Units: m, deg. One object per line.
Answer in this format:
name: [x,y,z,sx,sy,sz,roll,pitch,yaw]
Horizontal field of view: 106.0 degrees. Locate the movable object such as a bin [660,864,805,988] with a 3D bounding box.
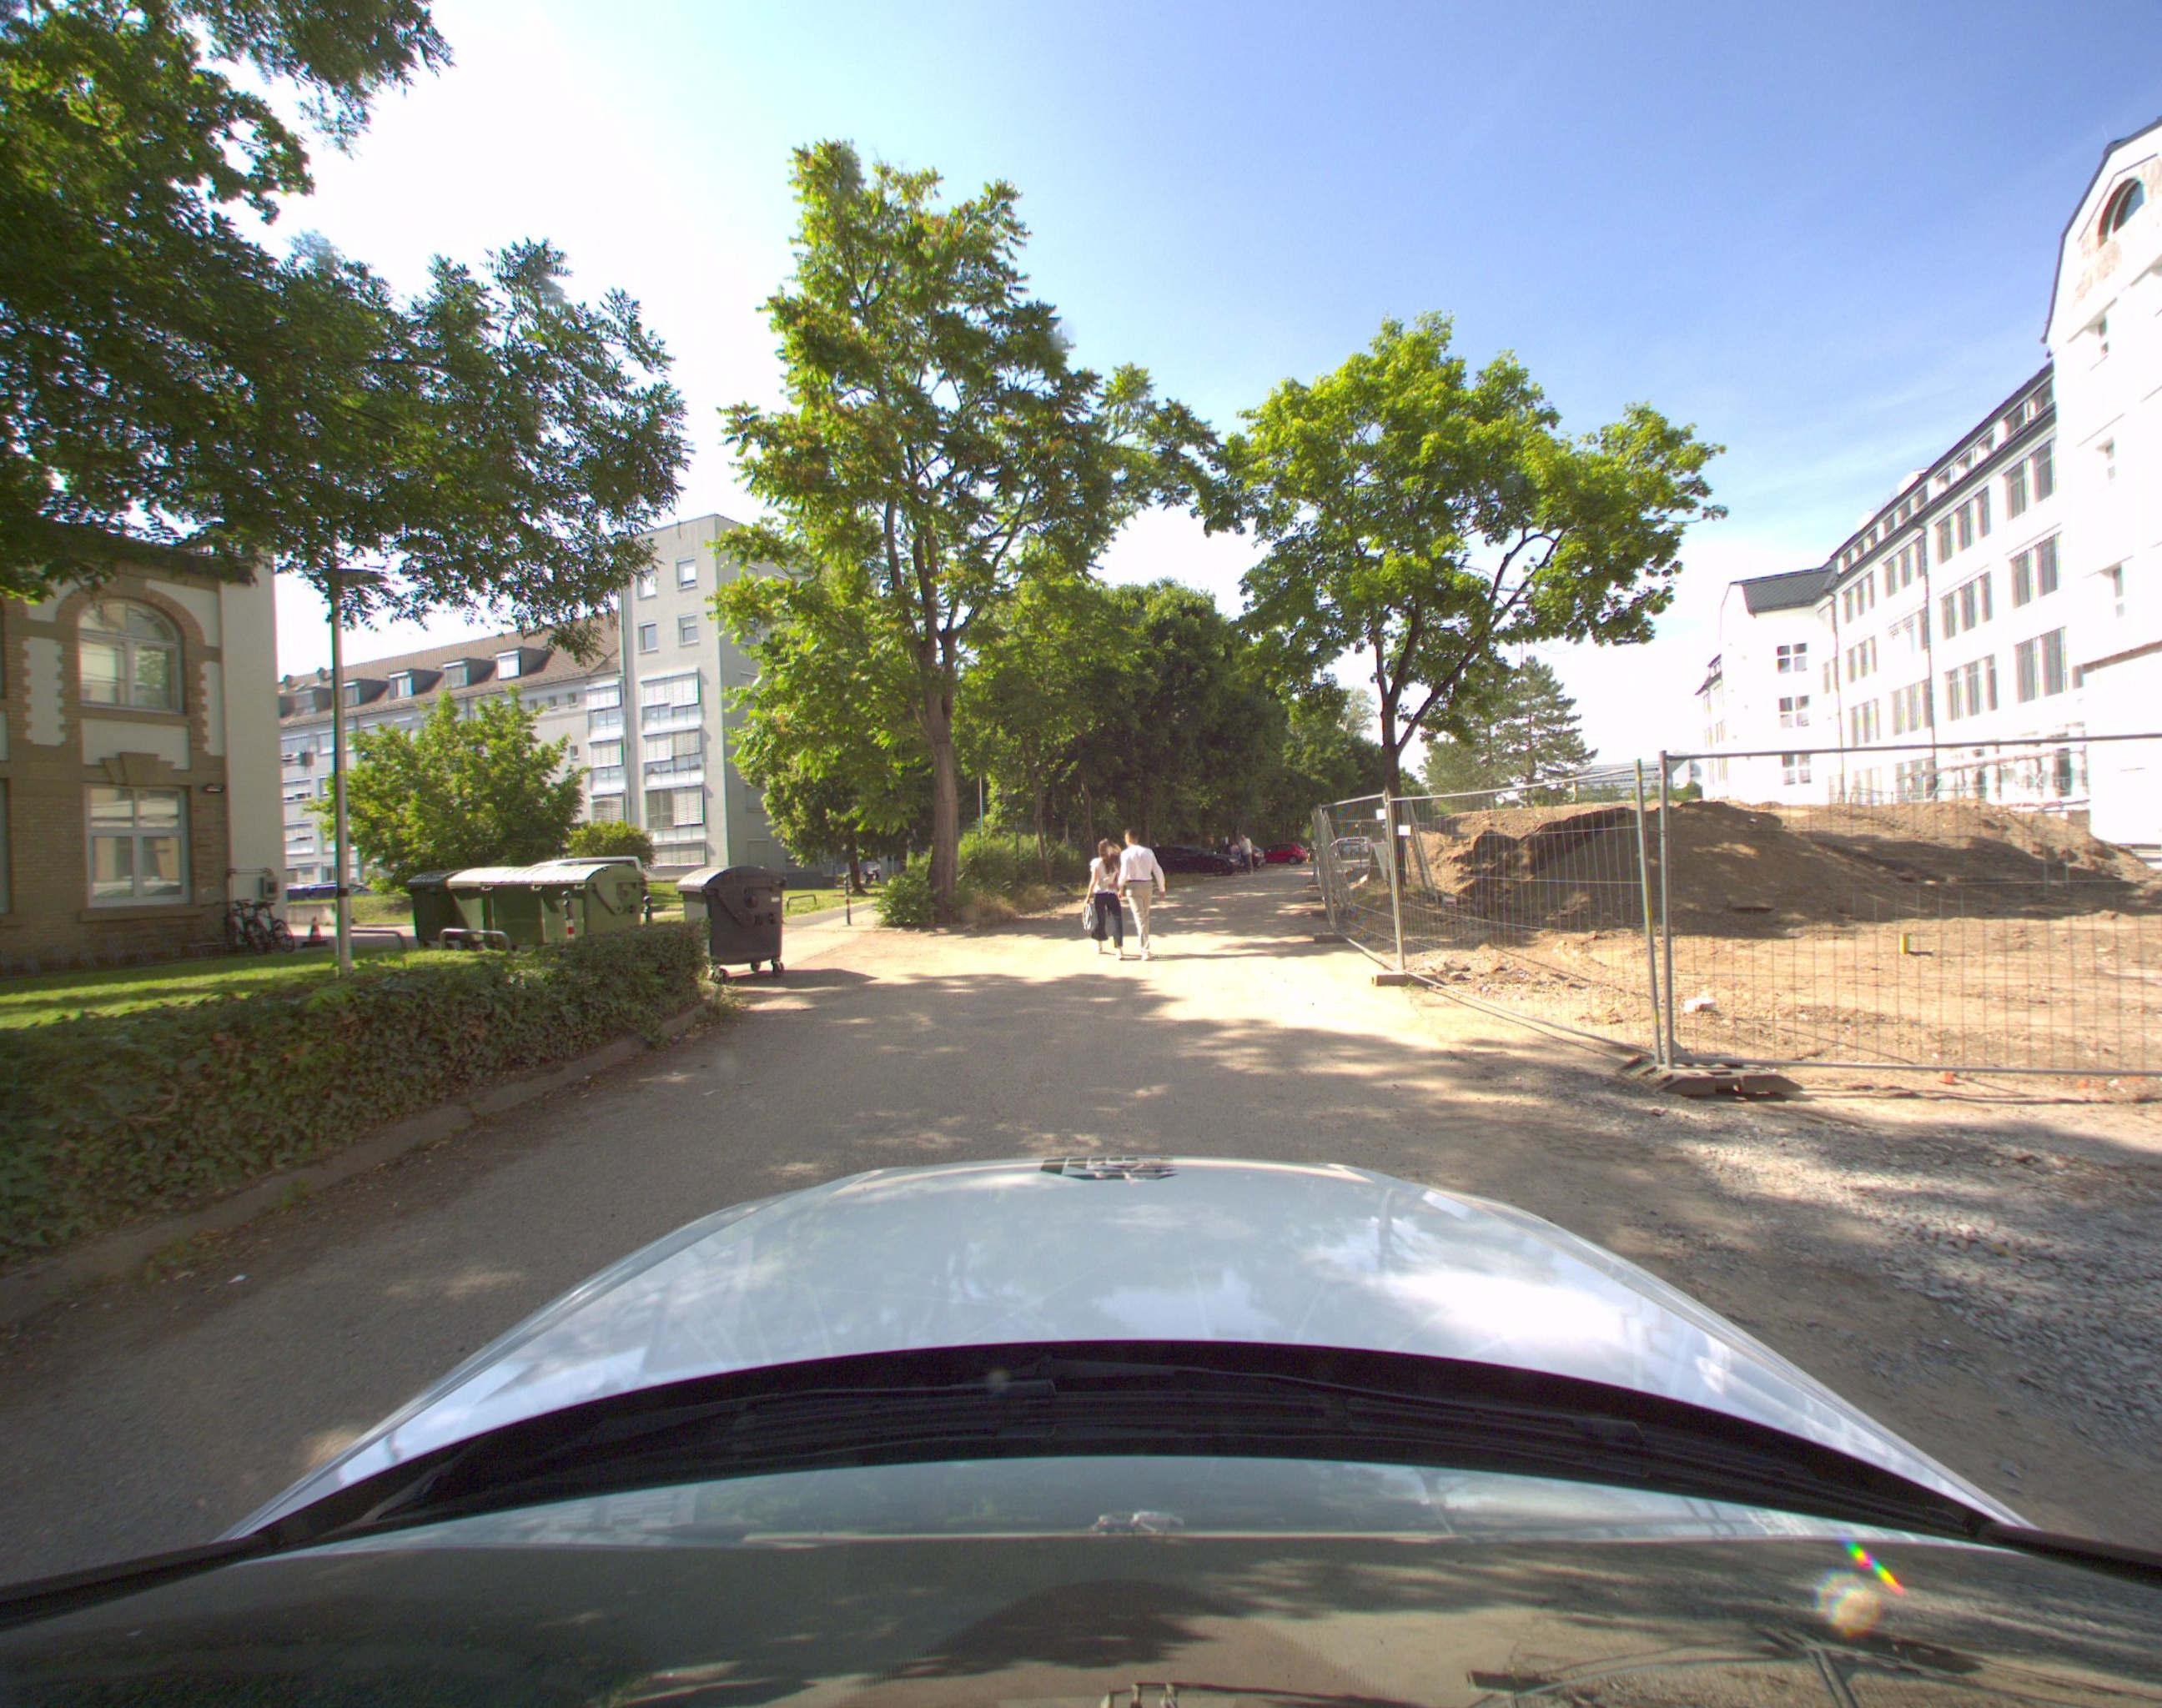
movable object such as a bin: [-4.505,0.874,10.514,1.255,1.396,1.387,-3,0,-44]

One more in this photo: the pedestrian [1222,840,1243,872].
pedestrian: [7.792,0.105,41.889,0.917,1.595,0.790,-2,1,19]

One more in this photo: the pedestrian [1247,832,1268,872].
pedestrian: [8.096,-0.085,37.311,0.811,1.781,1.021,-2,0,14]

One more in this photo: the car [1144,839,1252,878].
car: [5.450,0.201,37.959,4.618,1.584,2.010,-2,1,19]

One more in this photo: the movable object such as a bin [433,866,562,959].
movable object such as a bin: [-9.925,0.970,13.873,1.349,1.431,1.256,-3,0,27]

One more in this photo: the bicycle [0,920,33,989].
bicycle: [-17.110,1.575,12.848,1.664,0.992,0.449,-2,1,30]

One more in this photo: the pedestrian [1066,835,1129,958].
pedestrian: [0.220,0.567,11.476,0.734,1.640,0.779,-2,1,-6]

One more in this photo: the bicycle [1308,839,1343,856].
bicycle: [20.273,-0.521,67.601,2.652,1.284,0.823,-2,0,21]

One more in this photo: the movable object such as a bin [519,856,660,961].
movable object such as a bin: [-7.528,0.804,12.512,1.323,1.481,1.255,-3,0,22]

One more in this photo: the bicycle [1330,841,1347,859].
bicycle: [19.099,-0.324,60.350,0.707,1.284,2.653,-2,0,27]

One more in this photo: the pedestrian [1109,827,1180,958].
pedestrian: [0.869,0.507,11.362,0.754,1.727,0.852,-2,1,-8]

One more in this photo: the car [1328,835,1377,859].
car: [25.523,-0.668,76.555,3.948,2.013,1.779,-2,1,30]

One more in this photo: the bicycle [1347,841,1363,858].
bicycle: [22.702,-0.388,67.417,0.808,1.284,2.763,-2,0,27]

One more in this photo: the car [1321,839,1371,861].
car: [24.034,-0.371,73.933,3.948,1.771,1.779,-2,1,30]

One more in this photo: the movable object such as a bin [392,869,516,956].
movable object such as a bin: [-11.226,1.021,14.604,1.333,1.431,1.256,-3,0,27]

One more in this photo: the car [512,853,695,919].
car: [-16.242,1.036,28.057,1.974,1.933,5.072,-2,0,29]

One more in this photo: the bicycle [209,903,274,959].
bicycle: [-15.928,1.439,15.448,1.609,0.992,0.449,-2,1,30]

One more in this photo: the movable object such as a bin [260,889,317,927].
movable object such as a bin: [-31.302,2.129,32.161,1.127,1.319,1.259,-4,1,30]

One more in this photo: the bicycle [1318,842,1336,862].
bicycle: [16.910,-0.126,55.947,0.707,1.284,2.700,-2,0,27]

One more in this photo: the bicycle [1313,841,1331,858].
bicycle: [18.409,-0.351,62.113,0.808,1.284,2.700,-2,0,27]

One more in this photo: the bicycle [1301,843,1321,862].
bicycle: [16.323,-0.114,57.728,0.707,1.284,2.808,-2,0,27]

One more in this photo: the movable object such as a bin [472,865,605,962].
movable object such as a bin: [-8.743,0.932,13.179,1.210,1.431,1.254,-3,0,17]

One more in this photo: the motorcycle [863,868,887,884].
motorcycle: [-17.195,1.840,67.932,0.622,1.246,2.075,-2,0,29]

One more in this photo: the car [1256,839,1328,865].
car: [13.932,-0.118,53.775,4.246,1.524,1.904,-2,0,26]

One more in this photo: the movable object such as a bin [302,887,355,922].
movable object such as a bin: [-30.840,2.056,33.387,1.127,1.340,1.259,-3,0,31]

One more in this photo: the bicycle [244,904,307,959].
bicycle: [-15.743,1.499,15.907,1.521,0.992,0.449,-2,1,30]

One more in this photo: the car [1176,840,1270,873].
car: [7.582,0.124,43.512,4.618,1.584,2.010,-2,1,19]
